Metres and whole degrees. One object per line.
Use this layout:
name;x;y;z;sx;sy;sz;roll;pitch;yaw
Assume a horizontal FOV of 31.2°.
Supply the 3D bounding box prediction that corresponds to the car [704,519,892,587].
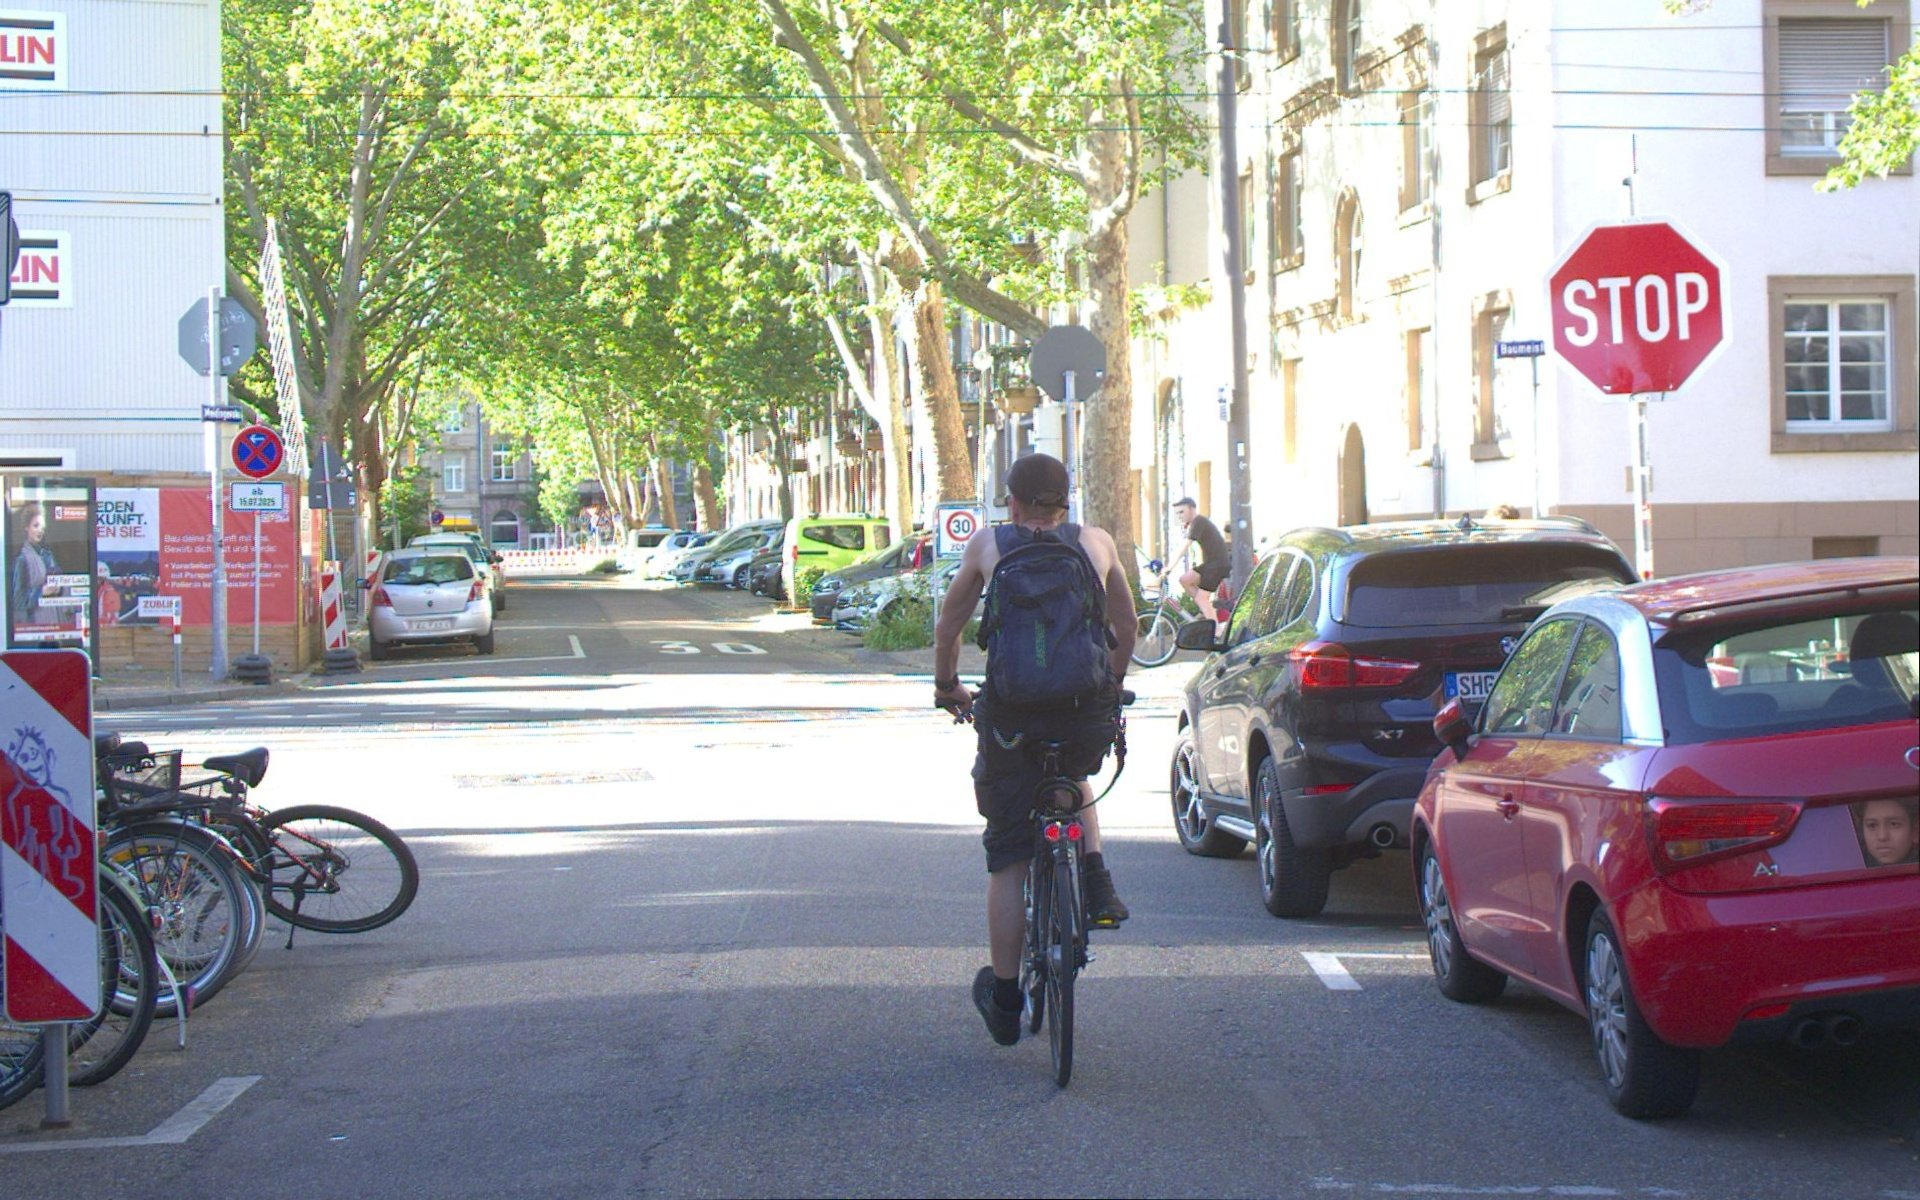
car;-4.031;-1.177;85.106;4.460;1.565;1.729;-1;1;-8

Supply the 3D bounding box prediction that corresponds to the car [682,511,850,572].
car;-5.351;-1.623;94.574;4.460;1.565;1.729;-1;1;-8

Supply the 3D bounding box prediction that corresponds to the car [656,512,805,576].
car;-7.180;-1.765;107.354;4.460;1.891;1.729;-1;1;-8

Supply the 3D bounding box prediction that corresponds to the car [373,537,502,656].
car;-7.370;-0.086;48.356;1.643;1.489;4.001;-4;2;-9

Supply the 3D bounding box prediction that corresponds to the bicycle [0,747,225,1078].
bicycle;-3.194;0.963;10.563;1.764;0.958;0.422;-1;1;-2

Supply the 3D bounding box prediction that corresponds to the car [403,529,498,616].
car;-9.603;-0.549;64.631;1.665;1.557;4.001;-1;1;-9

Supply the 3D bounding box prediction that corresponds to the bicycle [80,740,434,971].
bicycle;-2.713;0.979;13.325;1.308;0.815;0.355;-1;1;-10

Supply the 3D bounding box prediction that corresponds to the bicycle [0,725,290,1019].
bicycle;-3.264;0.954;12.021;1.764;0.958;0.428;-1;1;-8

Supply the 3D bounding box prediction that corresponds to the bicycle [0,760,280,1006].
bicycle;-3.275;1.062;12.854;1.386;0.815;0.362;-3;2;-10

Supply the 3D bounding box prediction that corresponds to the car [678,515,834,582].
car;-6.060;-1.541;101.868;4.460;1.891;1.729;-1;1;-8

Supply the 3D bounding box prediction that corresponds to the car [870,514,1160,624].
car;0.875;-0.522;55.872;4.460;1.665;1.729;-1;1;-8

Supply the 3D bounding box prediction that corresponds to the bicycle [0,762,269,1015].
bicycle;-3.203;1.051;12.486;1.308;0.815;0.382;-3;2;-10

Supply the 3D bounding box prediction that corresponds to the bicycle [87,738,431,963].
bicycle;-2.784;0.988;13.698;1.308;0.815;0.371;-1;1;-10

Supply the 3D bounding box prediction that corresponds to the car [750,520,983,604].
car;-1.888;-0.779;68.701;4.460;1.565;1.729;-1;1;-8

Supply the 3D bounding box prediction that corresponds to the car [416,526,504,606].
car;-10.259;-0.721;70.300;1.665;1.557;4.520;-1;1;-9

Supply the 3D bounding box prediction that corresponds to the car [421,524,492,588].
car;-12.754;-1.131;86.867;1.665;1.557;4.617;-1;1;-9

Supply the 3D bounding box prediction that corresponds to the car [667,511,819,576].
car;-6.611;-1.720;104.586;4.460;1.891;1.729;-1;1;-8

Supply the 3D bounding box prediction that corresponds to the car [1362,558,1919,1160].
car;2.397;0.640;10.724;1.645;1.498;3.955;0;1;-2

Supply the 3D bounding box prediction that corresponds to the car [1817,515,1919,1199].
car;2.607;0.667;4.965;1.636;1.581;3.789;0;1;-2

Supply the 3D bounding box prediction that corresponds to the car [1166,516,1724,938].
car;2.041;0.464;15.654;1.760;1.656;4.198;0;1;-2

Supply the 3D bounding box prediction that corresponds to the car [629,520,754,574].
car;-9.982;-1.969;127.645;4.460;1.891;1.729;-1;1;-8

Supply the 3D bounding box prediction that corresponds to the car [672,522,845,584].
car;-5.414;-1.275;92.233;4.460;1.565;1.729;-1;1;-8

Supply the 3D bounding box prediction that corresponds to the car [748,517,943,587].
car;-2.741;-1.157;82.041;4.460;1.565;1.729;-1;1;-8

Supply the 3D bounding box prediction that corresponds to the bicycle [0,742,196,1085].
bicycle;-3.190;0.931;10.144;1.764;0.958;0.405;-1;1;-2

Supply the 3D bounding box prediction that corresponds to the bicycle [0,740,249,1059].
bicycle;-3.211;0.961;10.997;1.764;0.958;0.443;-1;1;-2

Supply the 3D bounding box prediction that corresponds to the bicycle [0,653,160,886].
bicycle;-4.735;0.846;17.689;0.457;1.042;1.687;-2;4;-41

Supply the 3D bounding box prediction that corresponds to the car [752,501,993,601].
car;-1.714;-0.961;66.687;4.460;1.830;1.729;-1;1;-9

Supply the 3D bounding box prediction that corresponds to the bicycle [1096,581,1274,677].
bicycle;2.563;0.325;39.088;1.915;1.015;0.682;-2;1;-25

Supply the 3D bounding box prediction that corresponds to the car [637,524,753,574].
car;-10.534;-2.027;136.665;4.460;1.891;1.729;-1;1;-8

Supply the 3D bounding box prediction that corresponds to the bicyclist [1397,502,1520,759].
bicyclist;3.333;0.197;22.969;0.543;1.682;0.652;0;0;42

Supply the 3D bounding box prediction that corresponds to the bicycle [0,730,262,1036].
bicycle;-3.267;0.960;11.577;1.764;0.958;0.481;-1;1;-13

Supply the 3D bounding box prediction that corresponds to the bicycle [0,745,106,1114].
bicycle;-3.359;0.936;9.693;1.764;0.985;0.463;-1;1;-2

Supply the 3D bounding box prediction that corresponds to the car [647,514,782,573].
car;-8.389;-1.930;117.275;4.460;1.891;1.729;-1;1;-8

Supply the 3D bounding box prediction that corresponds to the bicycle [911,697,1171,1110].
bicycle;0.205;0.840;10.158;0.689;1.013;1.907;0;1;-1

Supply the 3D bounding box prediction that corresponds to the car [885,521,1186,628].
car;1.163;-0.417;53.805;4.460;1.565;1.729;-1;1;-8

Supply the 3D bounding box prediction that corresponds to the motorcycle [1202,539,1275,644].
motorcycle;3.645;-0.129;45.070;0.513;1.328;1.764;-1;2;-10

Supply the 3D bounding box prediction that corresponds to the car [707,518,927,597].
car;-3.037;-0.907;72.526;4.460;1.565;1.729;-1;1;-8

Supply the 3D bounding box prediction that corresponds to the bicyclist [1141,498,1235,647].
bicyclist;2.593;-0.320;39.091;0.809;1.652;0.682;-2;1;-25

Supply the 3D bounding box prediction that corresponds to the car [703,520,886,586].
car;-4.232;-1.211;87.577;4.460;1.565;1.729;-1;1;-8

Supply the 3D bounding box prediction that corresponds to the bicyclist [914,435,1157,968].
bicyclist;0.210;0.283;10.076;0.676;1.508;0.669;0;1;-1

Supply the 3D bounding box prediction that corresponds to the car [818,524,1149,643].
car;0.310;-0.256;48.832;4.460;1.565;1.729;-1;1;-8
